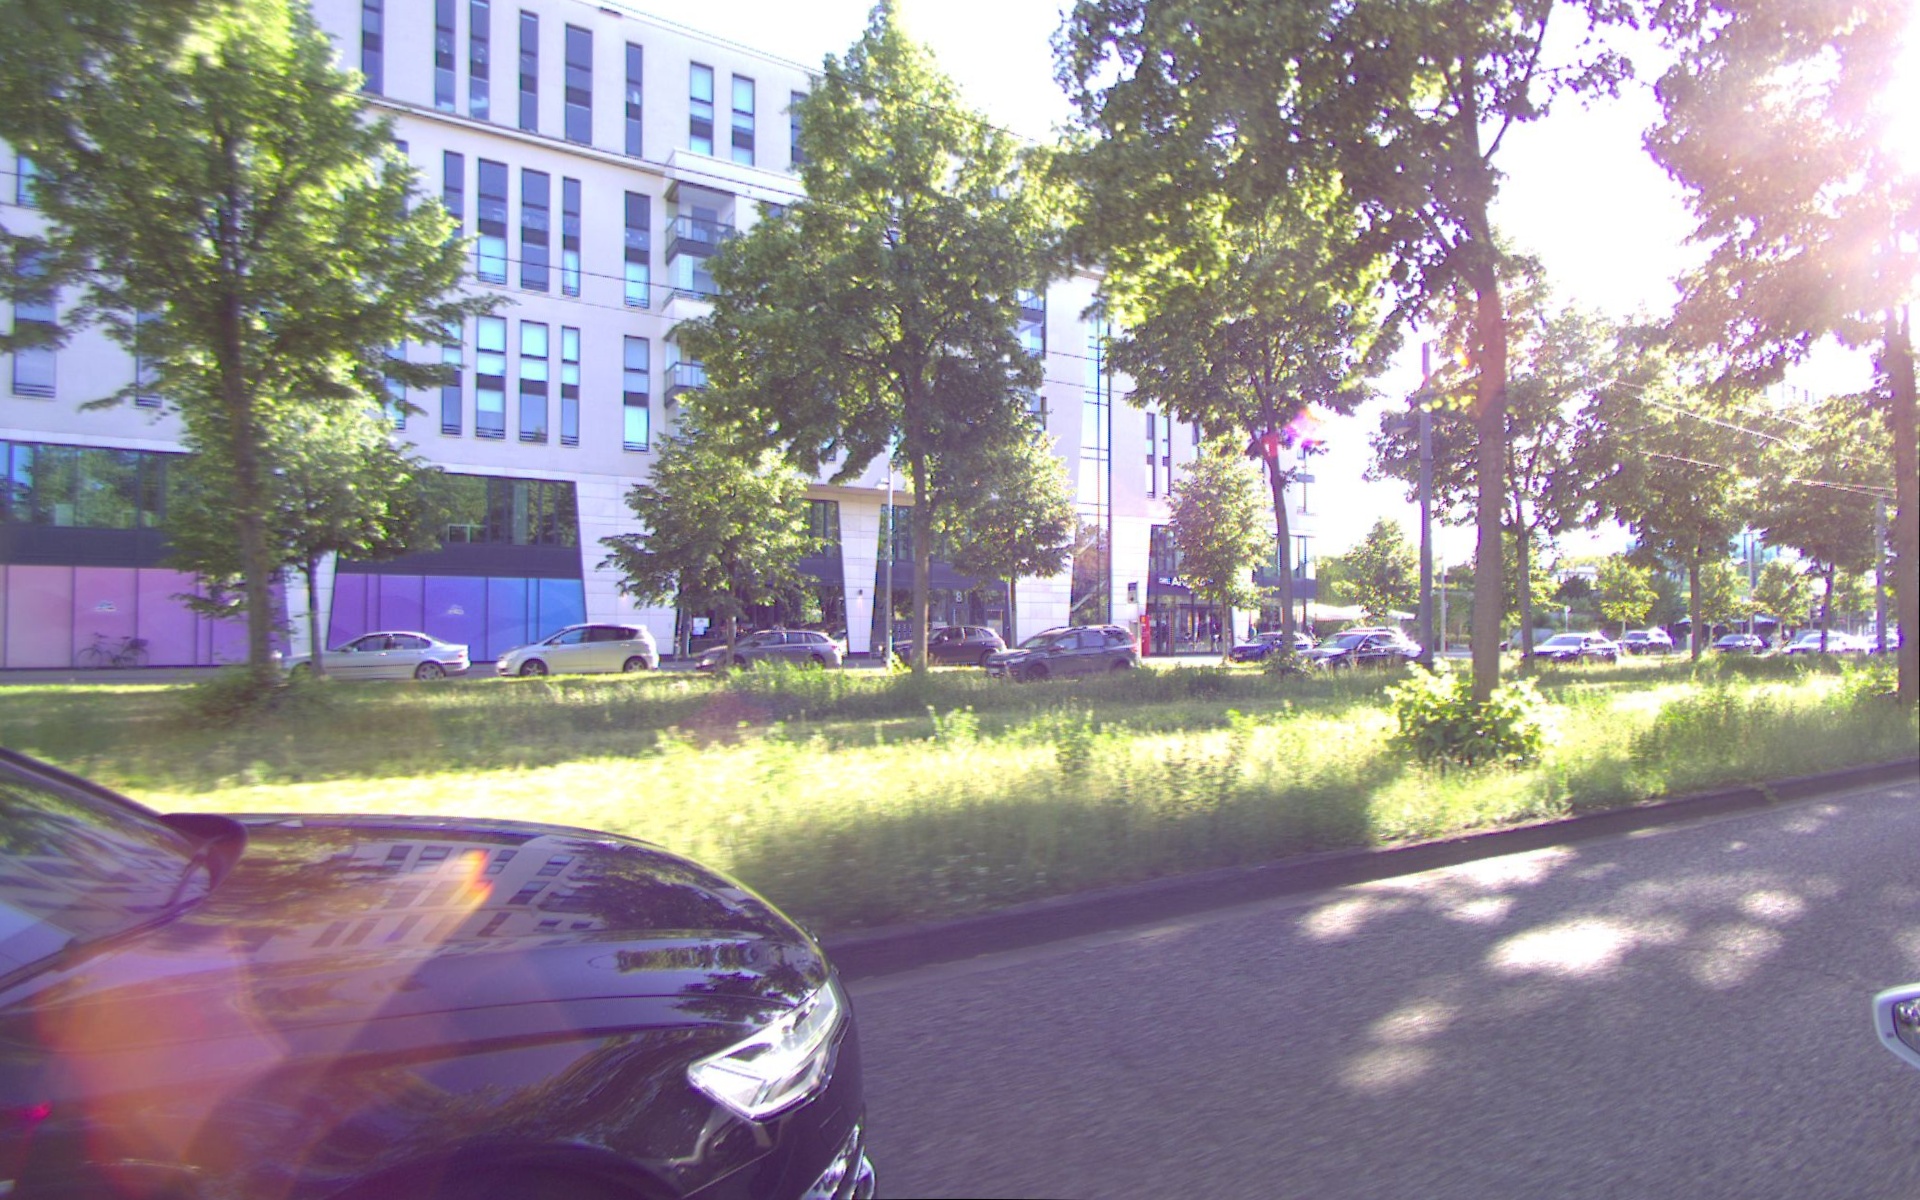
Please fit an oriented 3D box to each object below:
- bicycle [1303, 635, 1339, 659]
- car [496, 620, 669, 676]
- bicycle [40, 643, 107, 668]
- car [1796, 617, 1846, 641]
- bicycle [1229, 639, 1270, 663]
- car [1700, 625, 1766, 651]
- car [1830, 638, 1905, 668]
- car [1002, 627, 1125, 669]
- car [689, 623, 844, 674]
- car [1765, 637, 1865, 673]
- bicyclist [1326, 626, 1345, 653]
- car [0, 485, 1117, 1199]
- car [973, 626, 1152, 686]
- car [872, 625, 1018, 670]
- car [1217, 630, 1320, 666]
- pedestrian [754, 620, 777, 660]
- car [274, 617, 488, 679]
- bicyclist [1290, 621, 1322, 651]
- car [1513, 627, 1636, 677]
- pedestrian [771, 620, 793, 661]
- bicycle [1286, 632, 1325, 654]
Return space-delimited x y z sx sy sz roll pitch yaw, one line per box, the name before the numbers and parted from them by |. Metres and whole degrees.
bicycle | 20.182 2.601 56.113 1.806 1.269 0.589 2 0 -9
car | -10.856 1.377 28.959 4.405 1.460 1.983 2 0 -31
bicycle | -27.410 1.724 31.066 1.498 0.741 0.276 2 0 -29
car | 78.863 2.649 92.005 4.508 2.040 1.984 2 0 -30
bicycle | 15.338 2.681 53.221 2.215 1.214 0.729 2 0 -32
car | 51.758 2.549 67.250 4.555 1.642 1.871 1 -1 -30
car | 51.455 3.002 56.942 4.269 1.548 1.984 2 0 -31
car | 3.983 1.841 38.500 4.408 1.460 1.982 2 0 -33
car | -6.128 1.526 31.946 4.408 1.460 1.982 2 0 -33
car | 38.754 2.496 45.508 4.400 1.460 1.985 2 0 -28
bicyclist | 20.003 2.098 53.484 0.944 1.438 0.428 2 0 -29
car | -2.332 0.639 1.351 5.029 1.500 1.942 0 -1 -33
car | 2.841 1.515 27.534 4.649 1.460 1.983 2 0 -31
car | -0.492 1.668 35.549 4.884 1.460 1.982 2 0 -33
car | 13.378 2.075 43.522 4.215 1.460 1.948 2 0 -30
pedestrian | -8.232 1.681 42.565 0.713 1.673 0.631 2 0 -38
car | -15.199 1.255 26.535 4.728 1.460 1.982 2 0 -33
bicyclist | 16.735 1.765 48.619 1.641 1.424 0.486 2 0 -31
car | 24.408 2.030 39.869 5.189 1.865 1.984 1 -1 -30
pedestrian | -7.461 1.702 42.088 0.712 1.673 0.632 2 0 -33
bicycle | 16.723 2.079 48.618 2.163 1.014 0.494 2 0 -31
